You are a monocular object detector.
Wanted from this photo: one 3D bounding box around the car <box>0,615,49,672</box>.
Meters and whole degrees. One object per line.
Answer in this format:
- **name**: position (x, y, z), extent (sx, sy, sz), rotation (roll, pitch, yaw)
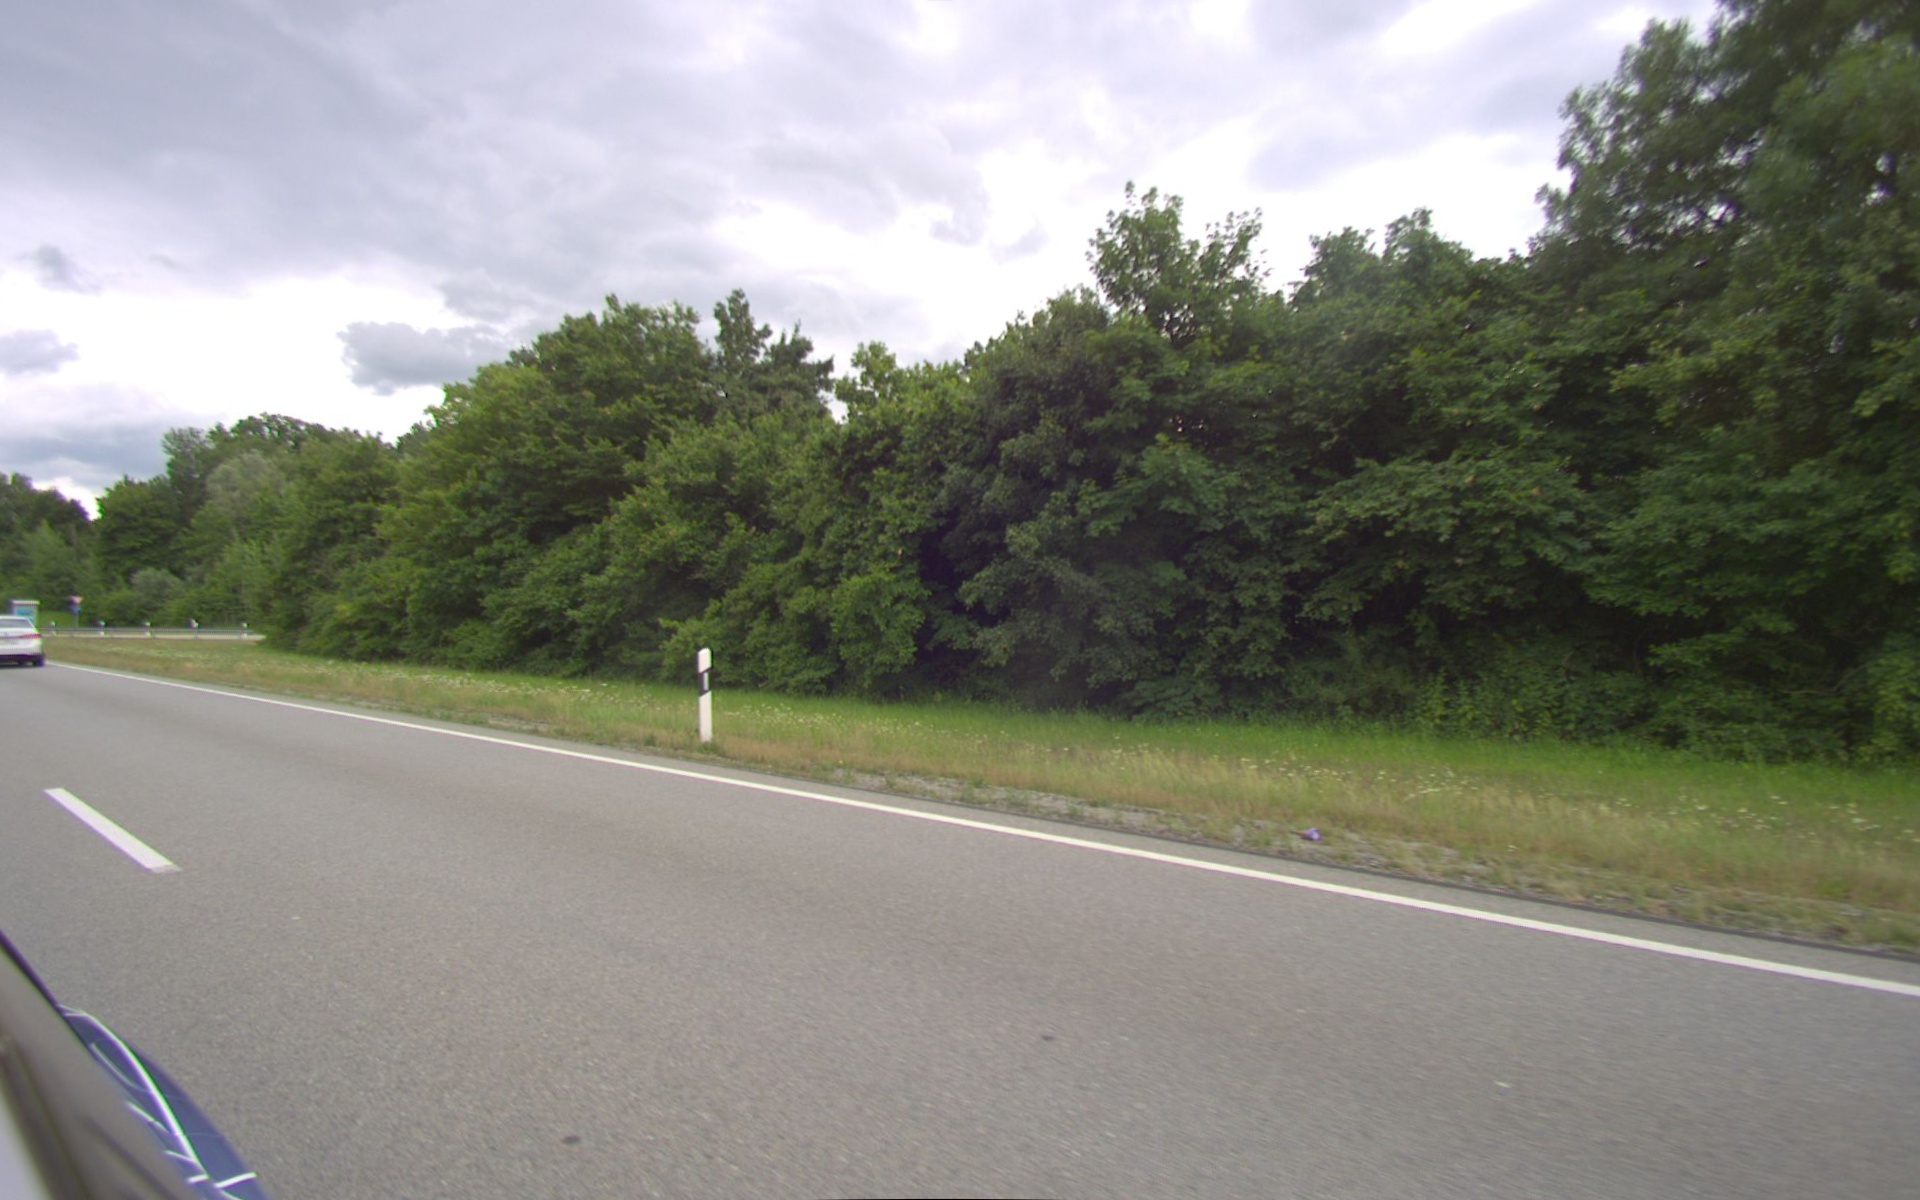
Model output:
- **car**: position (-28.898, 1.254, 30.141), extent (5.448, 1.586, 1.944), rotation (-1, 0, 41)
